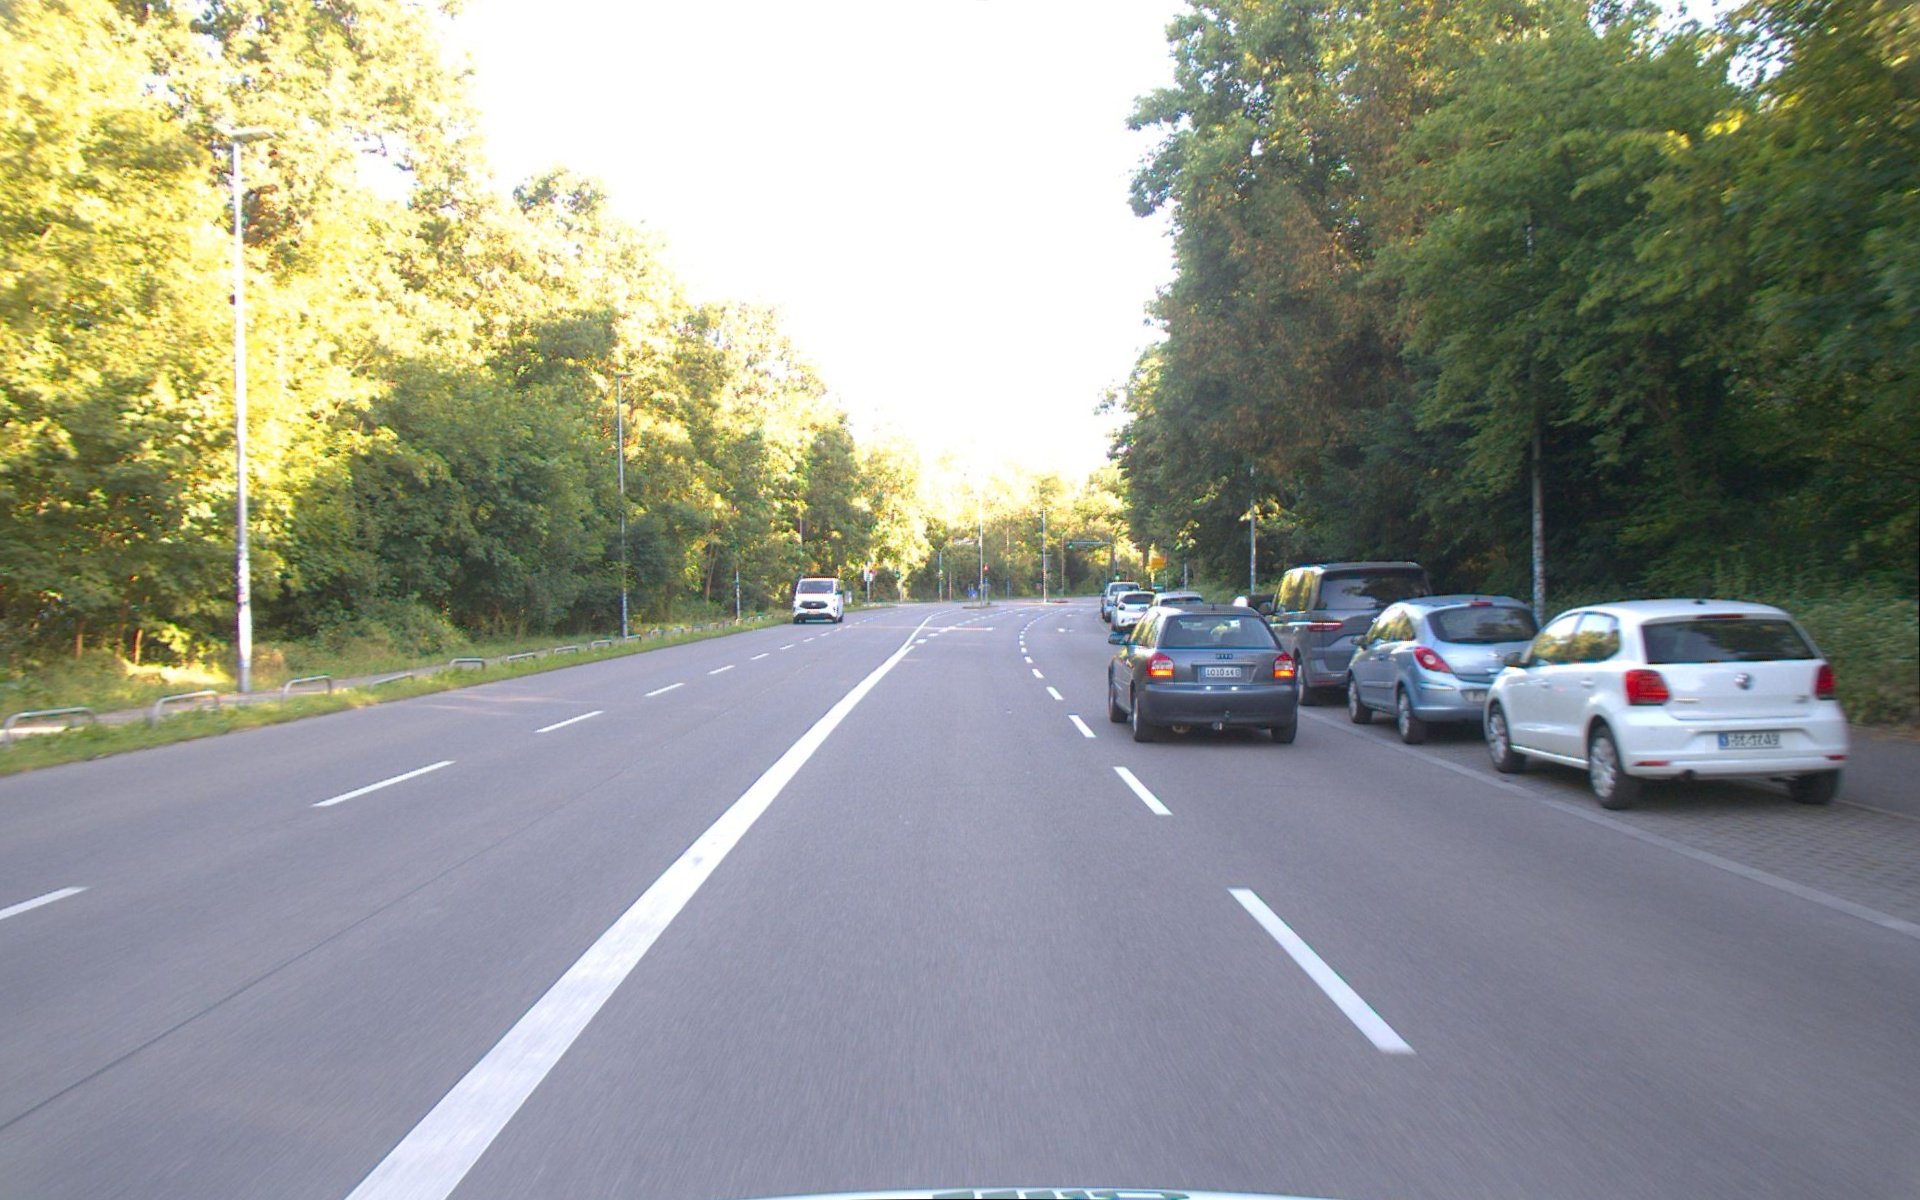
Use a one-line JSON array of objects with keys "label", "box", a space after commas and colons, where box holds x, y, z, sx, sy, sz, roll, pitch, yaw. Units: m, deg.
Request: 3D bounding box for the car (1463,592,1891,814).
[{"label": "car", "box": [5.499, 0.690, 13.301, 1.692, 1.466, 4.101, -1, 0, 1]}]

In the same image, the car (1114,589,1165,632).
[{"label": "car", "box": [6.614, 0.360, 61.280, 1.691, 1.549, 4.092, 0, 0, 4]}]

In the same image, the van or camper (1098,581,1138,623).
[{"label": "van or camper", "box": [7.935, 0.074, 83.623, 1.794, 2.005, 5.344, 0, 0, 3]}]

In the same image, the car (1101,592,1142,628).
[{"label": "car", "box": [7.516, 0.448, 77.283, 1.613, 1.549, 3.868, -2, 0, 2]}]

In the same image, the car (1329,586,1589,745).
[{"label": "car", "box": [5.418, 0.632, 18.507, 1.692, 1.571, 4.217, 0, 0, 1]}]

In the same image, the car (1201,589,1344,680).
[{"label": "car", "box": [5.703, 0.570, 30.731, 1.800, 1.466, 4.958, -2, 0, 2]}]

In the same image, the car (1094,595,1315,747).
[{"label": "car", "box": [2.570, 0.693, 18.291, 1.693, 1.466, 4.088, 0, 0, -2]}]

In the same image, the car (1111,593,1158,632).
[{"label": "car", "box": [6.931, 0.472, 66.041, 1.691, 1.434, 4.092, -1, 0, 4]}]

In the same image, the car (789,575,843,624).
[{"label": "car", "box": [-6.379, -0.019, 73.692, 1.953, 2.027, 4.997, 2, 0, 0]}]

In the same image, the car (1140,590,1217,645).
[{"label": "car", "box": [6.105, 0.452, 46.672, 1.692, 1.467, 4.668, 0, 0, 2]}]

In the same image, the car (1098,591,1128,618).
[{"label": "car", "box": [8.605, 0.242, 93.426, 1.615, 1.466, 4.115, -2, 0, 5]}]

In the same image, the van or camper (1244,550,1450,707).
[{"label": "van or camper", "box": [5.547, 0.354, 24.380, 1.854, 1.982, 5.134, -2, 0, 1]}]
